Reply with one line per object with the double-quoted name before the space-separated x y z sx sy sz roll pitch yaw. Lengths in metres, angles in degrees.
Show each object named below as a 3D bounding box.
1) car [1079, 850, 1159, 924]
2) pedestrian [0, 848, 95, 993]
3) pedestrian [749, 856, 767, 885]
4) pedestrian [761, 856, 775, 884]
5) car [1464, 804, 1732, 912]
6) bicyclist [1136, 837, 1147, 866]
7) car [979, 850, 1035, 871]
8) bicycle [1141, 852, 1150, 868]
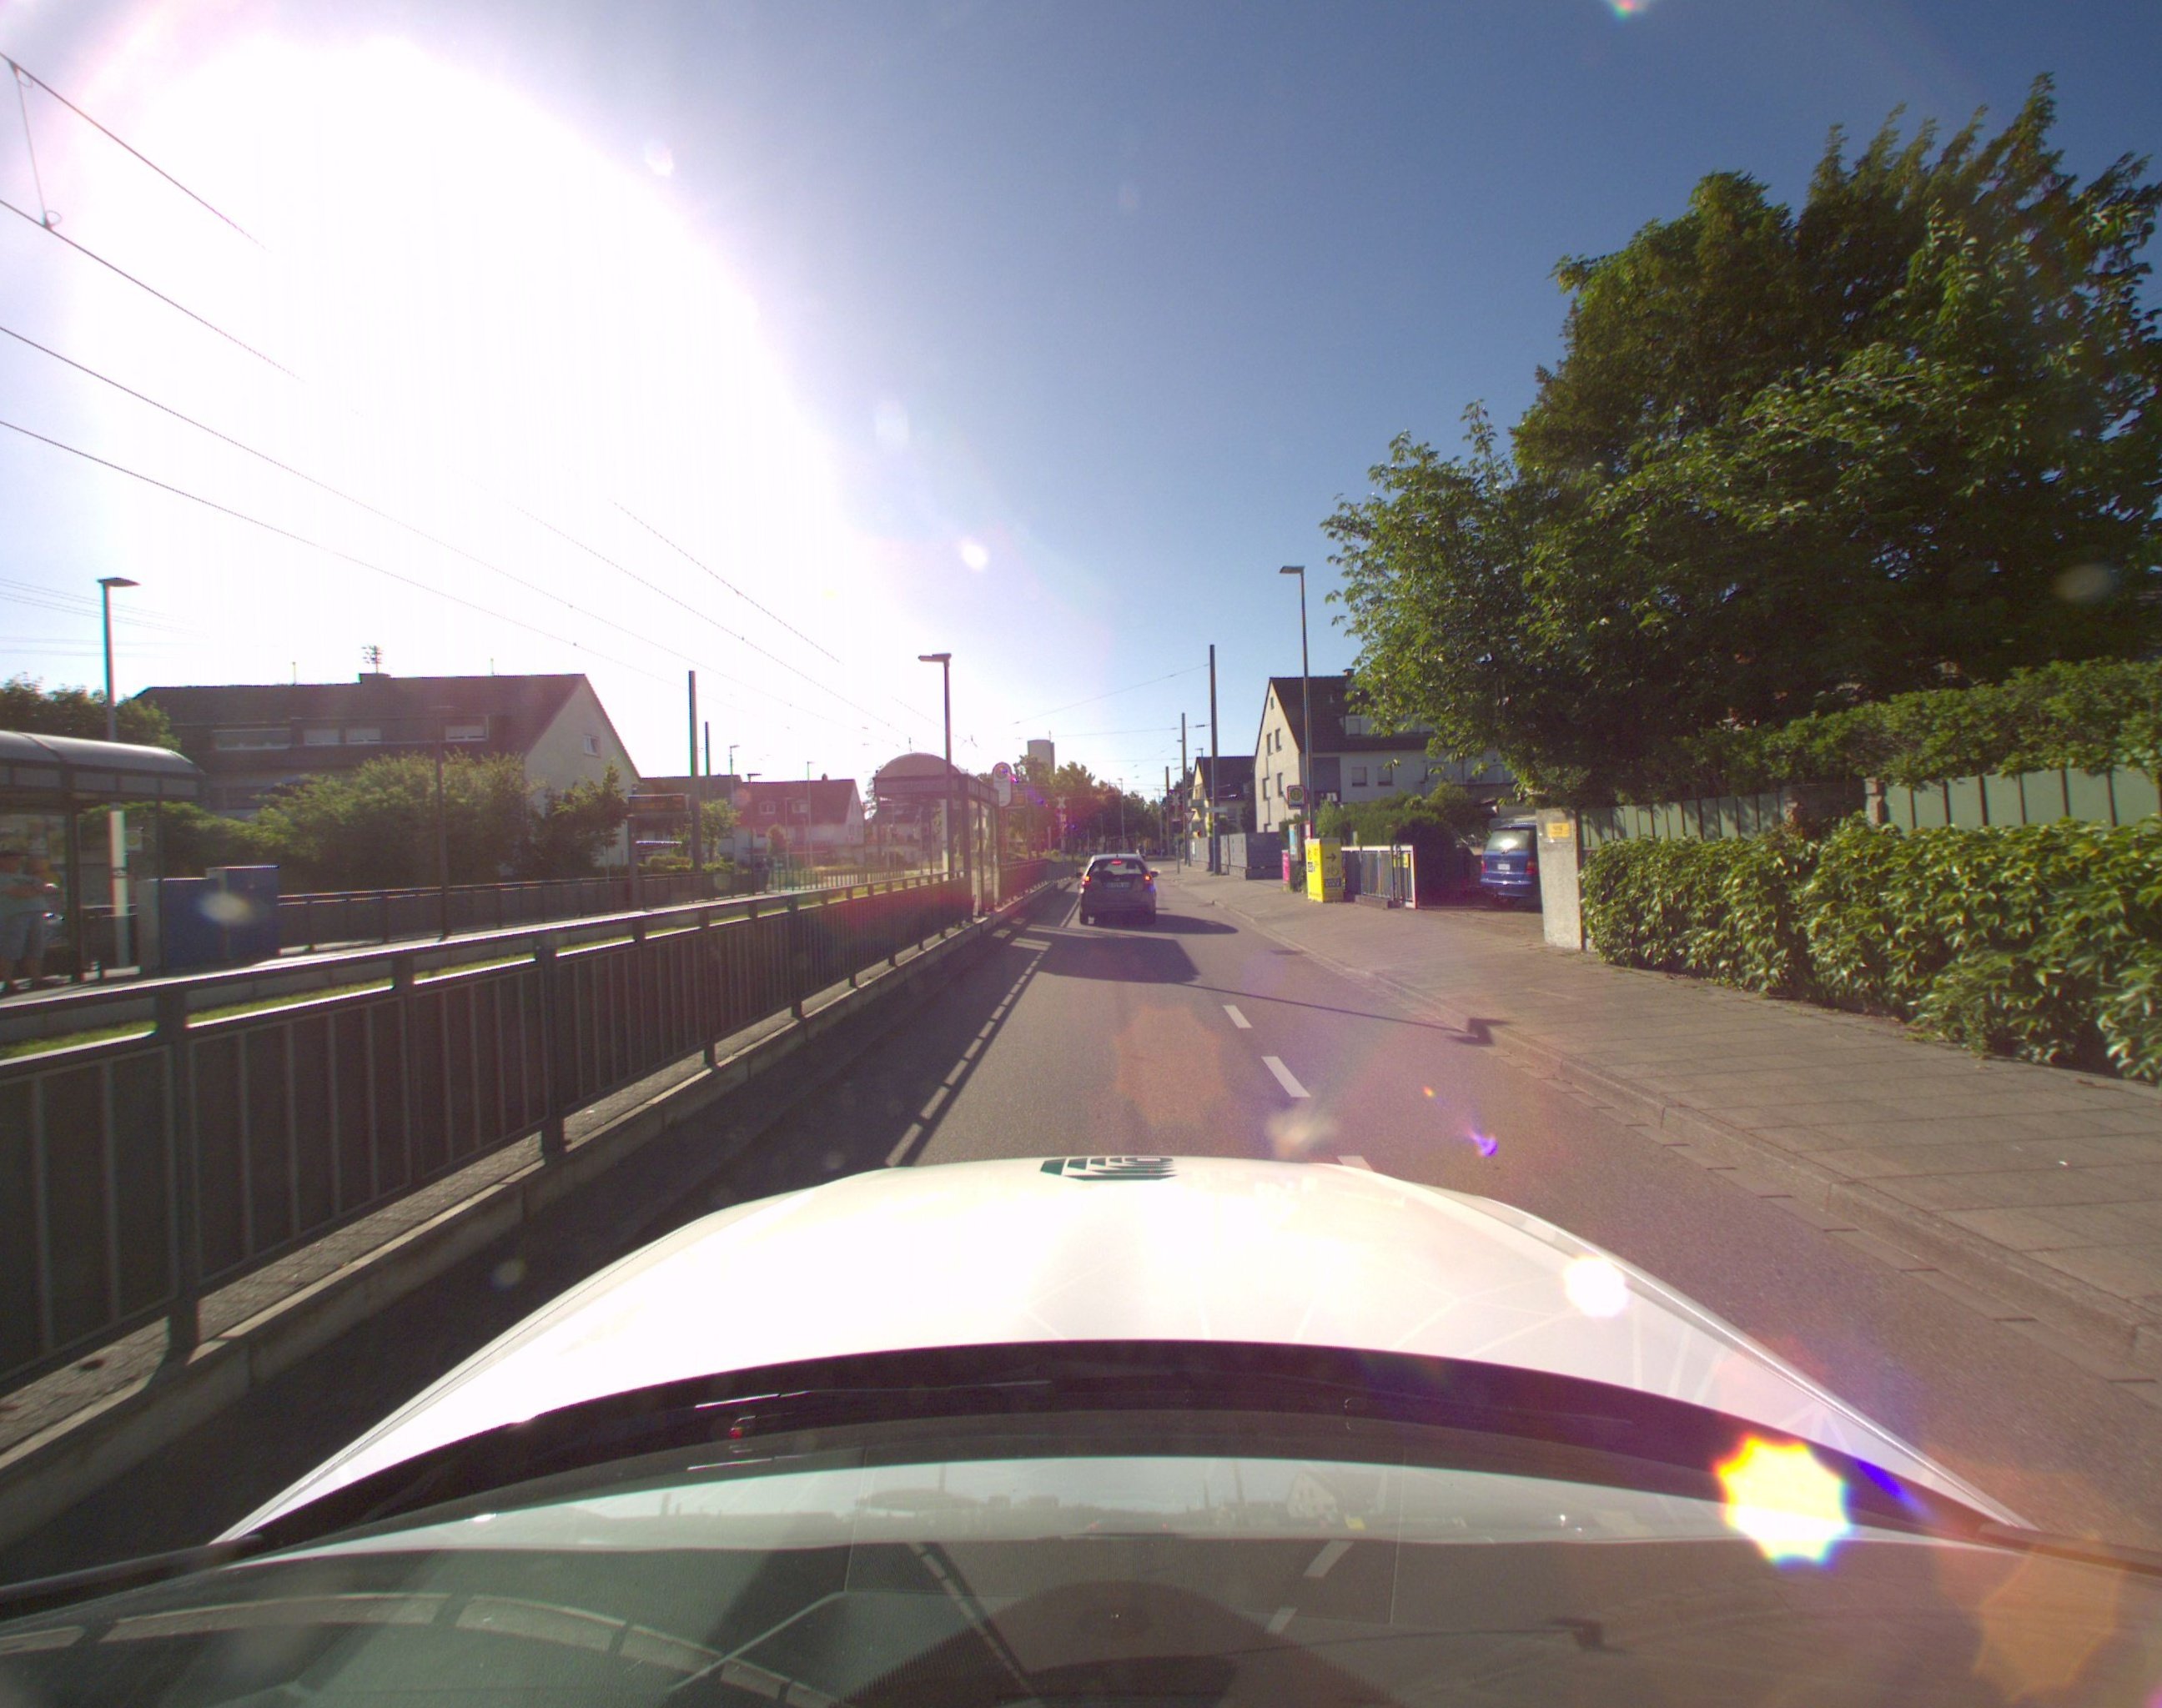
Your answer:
"car" 0.833 0.677 18.764 1.664 1.535 3.488 -1 0 1
"pedestrian" -12.842 0.793 9.955 0.498 1.696 0.772 -4 0 2
"pedestrian" -20.107 1.007 50.713 0.726 1.762 0.772 -2 0 0
"pedestrian" -20.021 1.003 52.077 0.591 1.732 0.689 -2 0 0
"car" 9.154 0.054 14.577 3.758 1.569 1.747 -4 0 -8
"bicyclist" 3.693 -0.149 49.740 0.596 1.701 0.684 -1 -1 2
"car" -5.461 0.461 60.592 3.973 1.529 1.808 -1 0 0
"bicycle" 3.936 0.365 49.774 0.473 0.961 1.658 -1 0 2
